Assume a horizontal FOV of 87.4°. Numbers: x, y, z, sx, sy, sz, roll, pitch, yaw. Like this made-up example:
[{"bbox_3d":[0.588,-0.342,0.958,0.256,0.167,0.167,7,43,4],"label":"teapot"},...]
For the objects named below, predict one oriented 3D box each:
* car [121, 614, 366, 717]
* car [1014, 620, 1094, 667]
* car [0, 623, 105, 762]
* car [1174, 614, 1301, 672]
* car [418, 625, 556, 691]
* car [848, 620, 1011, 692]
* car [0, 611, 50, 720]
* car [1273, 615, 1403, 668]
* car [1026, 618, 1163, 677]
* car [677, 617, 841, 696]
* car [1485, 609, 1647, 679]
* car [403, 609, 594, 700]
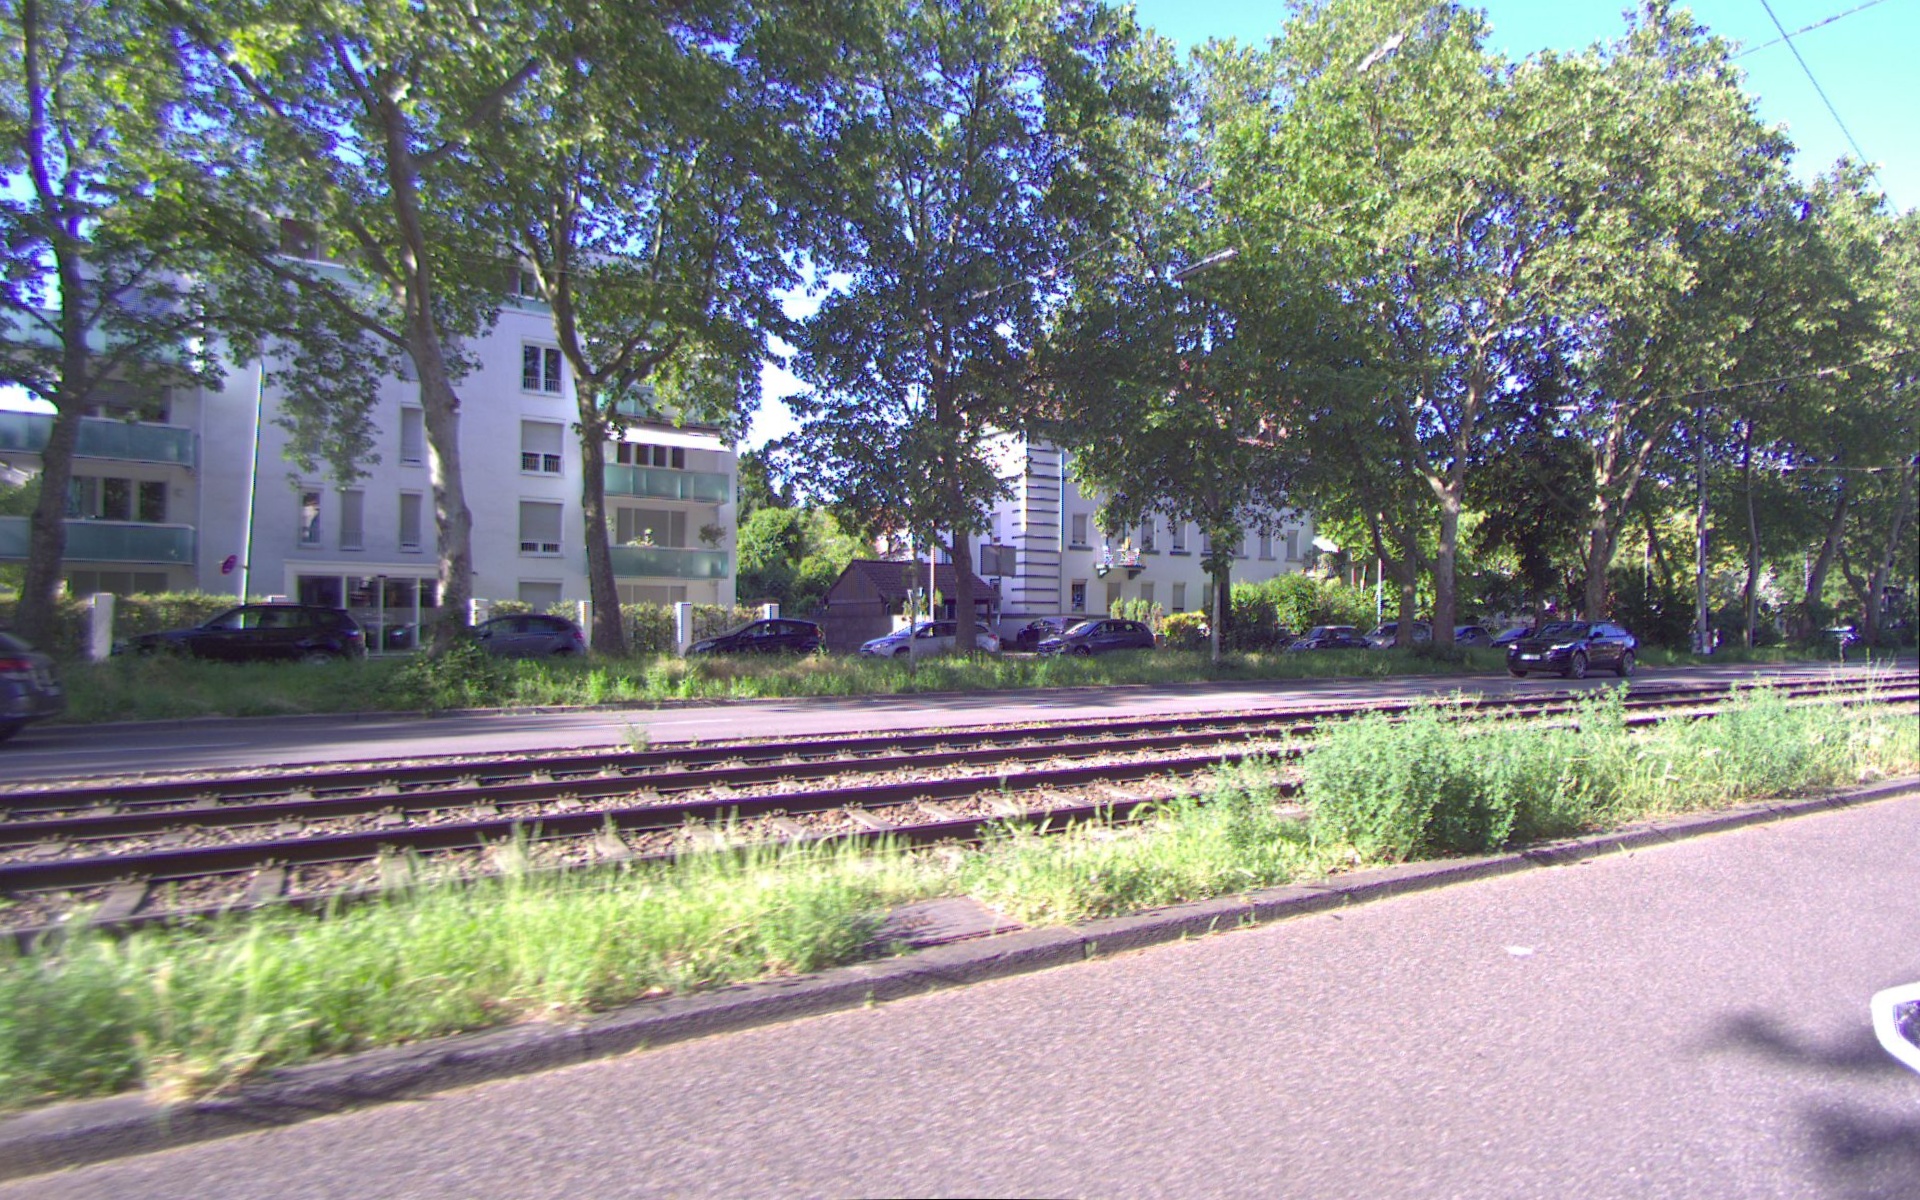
[{"bbox_3d":[-15.292,1.333,21.771,4.125,2.040,1.984,1,-1,-31],"label":"car"},{"bbox_3d":[4.194,1.917,45.205,1.695,1.964,3.786,1,-1,-31],"label":"car"},{"bbox_3d":[-12.420,1.043,11.052,4.288,1.528,1.787,1,-4,-30],"label":"car"},{"bbox_3d":[10.466,1.565,37.839,4.630,2.040,1.984,1,-1,-31],"label":"car"},{"bbox_3d":[-15.590,1.852,33.125,3.953,2.040,1.984,1,-1,-30],"label":"car"},{"bbox_3d":[-0.904,1.654,30.767,4.626,2.040,1.985,1,-1,-29],"label":"car"},{"bbox_3d":[-20.085,1.225,18.867,4.115,2.040,1.982,1,-1,-33],"label":"car"},{"bbox_3d":[15.258,1.614,40.460,5.208,2.040,2.142,1,-1,-31],"label":"car"},{"bbox_3d":[4.606,1.563,34.201,4.501,1.860,1.811,1,-1,-31],"label":"car"},{"bbox_3d":[-5.547,1.484,27.794,4.053,2.040,1.985,1,-1,-29],"label":"car"},{"bbox_3d":[17.815,1.267,29.495,4.815,1.895,1.984,1,-2,-30],"label":"car"},{"bbox_3d":[-11.199,1.251,24.421,4.046,2.040,1.984,1,-1,-31],"label":"car"}]
